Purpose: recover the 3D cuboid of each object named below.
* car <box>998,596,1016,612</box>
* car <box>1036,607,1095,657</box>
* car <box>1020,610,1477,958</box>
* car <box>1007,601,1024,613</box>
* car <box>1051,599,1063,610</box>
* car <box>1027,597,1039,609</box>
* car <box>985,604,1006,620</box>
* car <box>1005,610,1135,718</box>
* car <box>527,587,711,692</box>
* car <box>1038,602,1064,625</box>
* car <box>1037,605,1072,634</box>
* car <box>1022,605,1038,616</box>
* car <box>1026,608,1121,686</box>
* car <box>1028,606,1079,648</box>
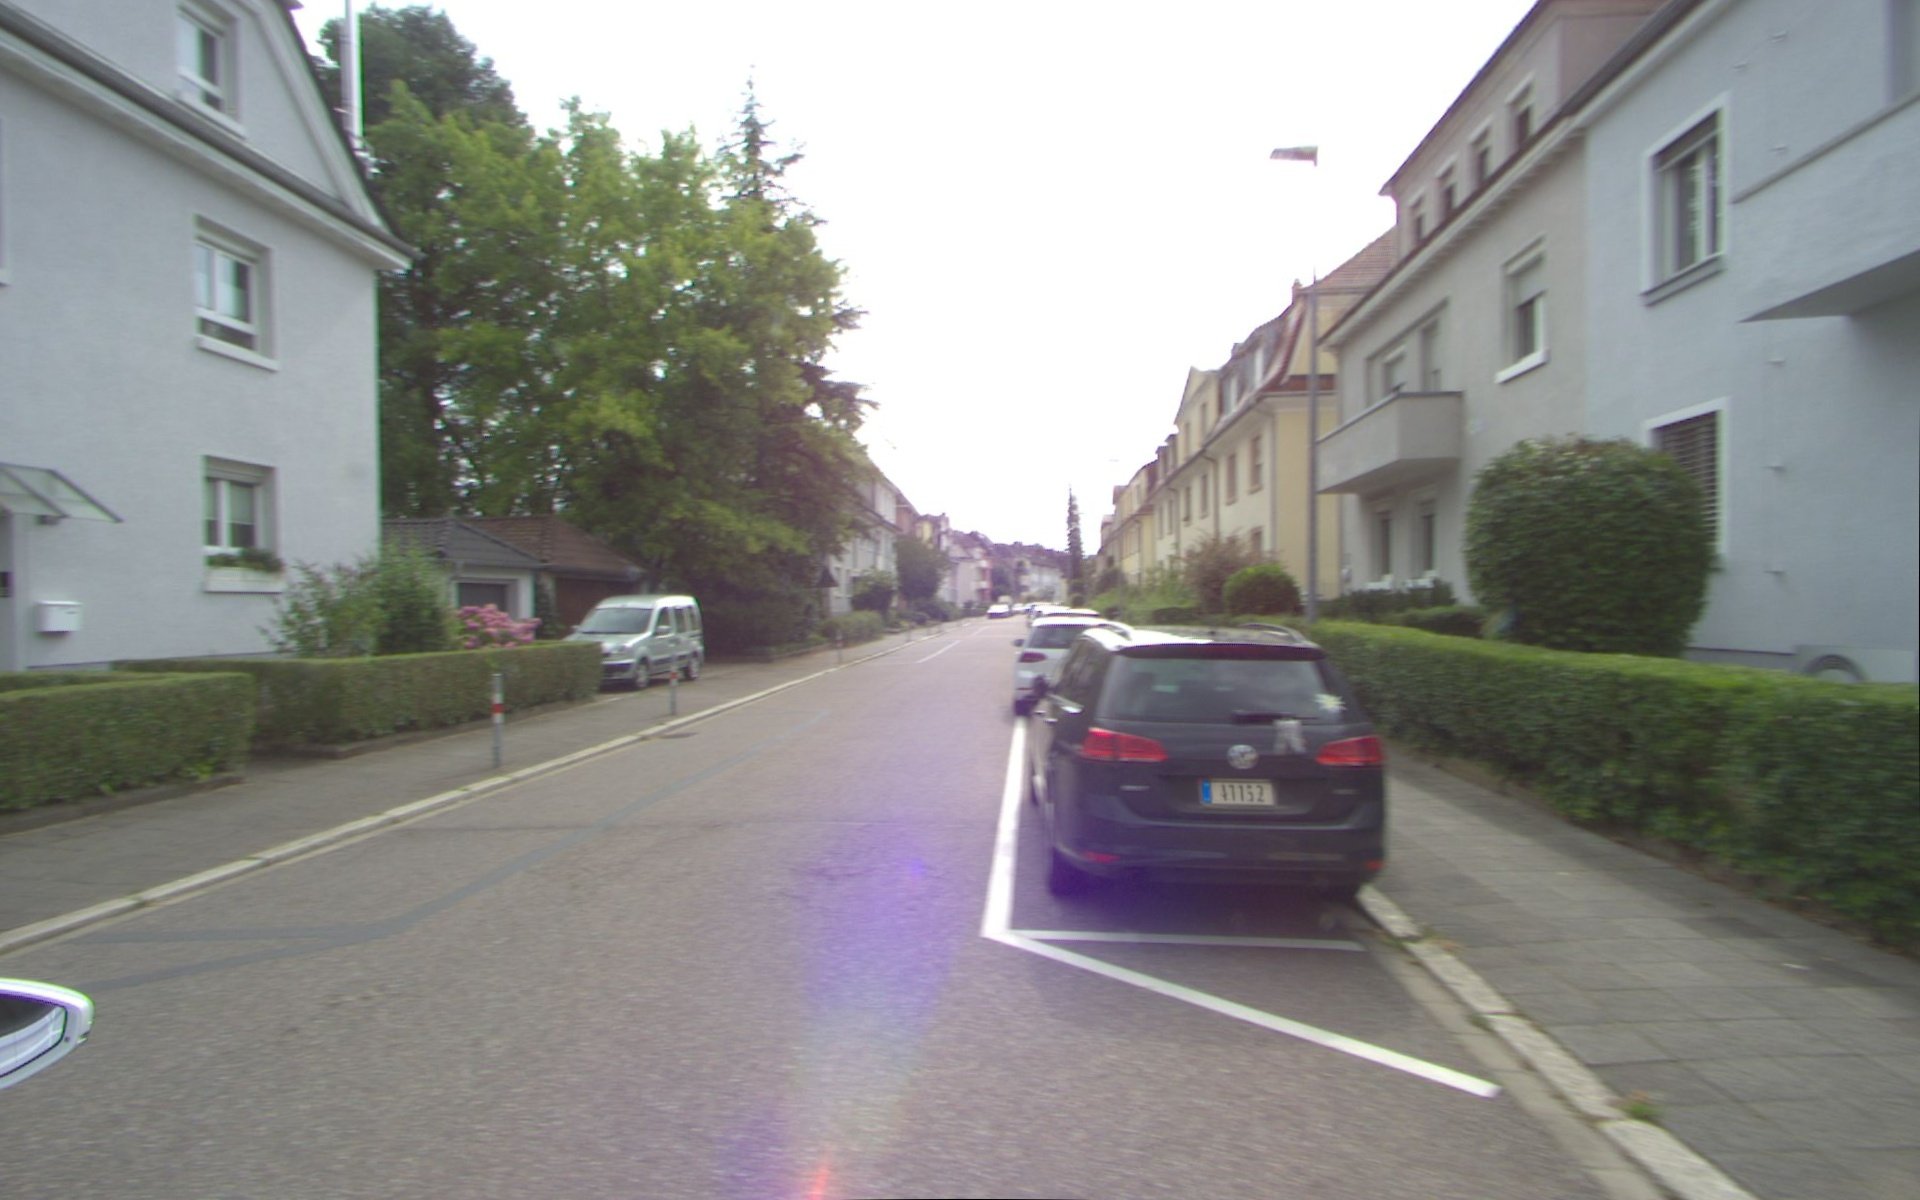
[{"bbox_3d":[5.832,0.495,124.066,1.961,2.040,3.999,-1,0,7],"label":"car"},{"bbox_3d":[3.461,1.011,33.013,1.824,1.491,4.174,0,0,6],"label":"car"},{"bbox_3d":[1.393,0.835,6.489,1.823,1.491,4.175,-1,0,1],"label":"car"},{"bbox_3d":[7.827,0.990,141.300,1.961,1.661,3.999,-1,0,8],"label":"car"},{"bbox_3d":[14.345,0.653,147.845,1.824,1.599,4.174,0,0,6],"label":"car"},{"bbox_3d":[13.430,0.590,184.855,1.961,2.152,3.998,0,0,8],"label":"car"},{"bbox_3d":[4.041,1.340,112.459,1.961,1.661,3.998,0,0,8],"label":"car"},{"bbox_3d":[1.772,0.941,16.331,1.824,1.491,4.174,0,0,6],"label":"car"},{"bbox_3d":[-6.628,0.722,19.970,1.961,1.862,3.999,0,0,6],"label":"car"},{"bbox_3d":[6.687,0.961,73.075,1.824,1.599,4.174,0,0,6],"label":"car"},{"bbox_3d":[5.243,1.051,55.352,1.824,1.491,4.174,0,0,6],"label":"car"},{"bbox_3d":[10.853,1.556,154.939,1.963,1.556,3.996,-2,0,13],"label":"car"},{"bbox_3d":[2.415,0.943,21.587,1.824,1.491,4.174,0,0,6],"label":"car"},{"bbox_3d":[3.578,0.996,38.312,1.824,1.491,4.174,0,0,6],"label":"car"}]
